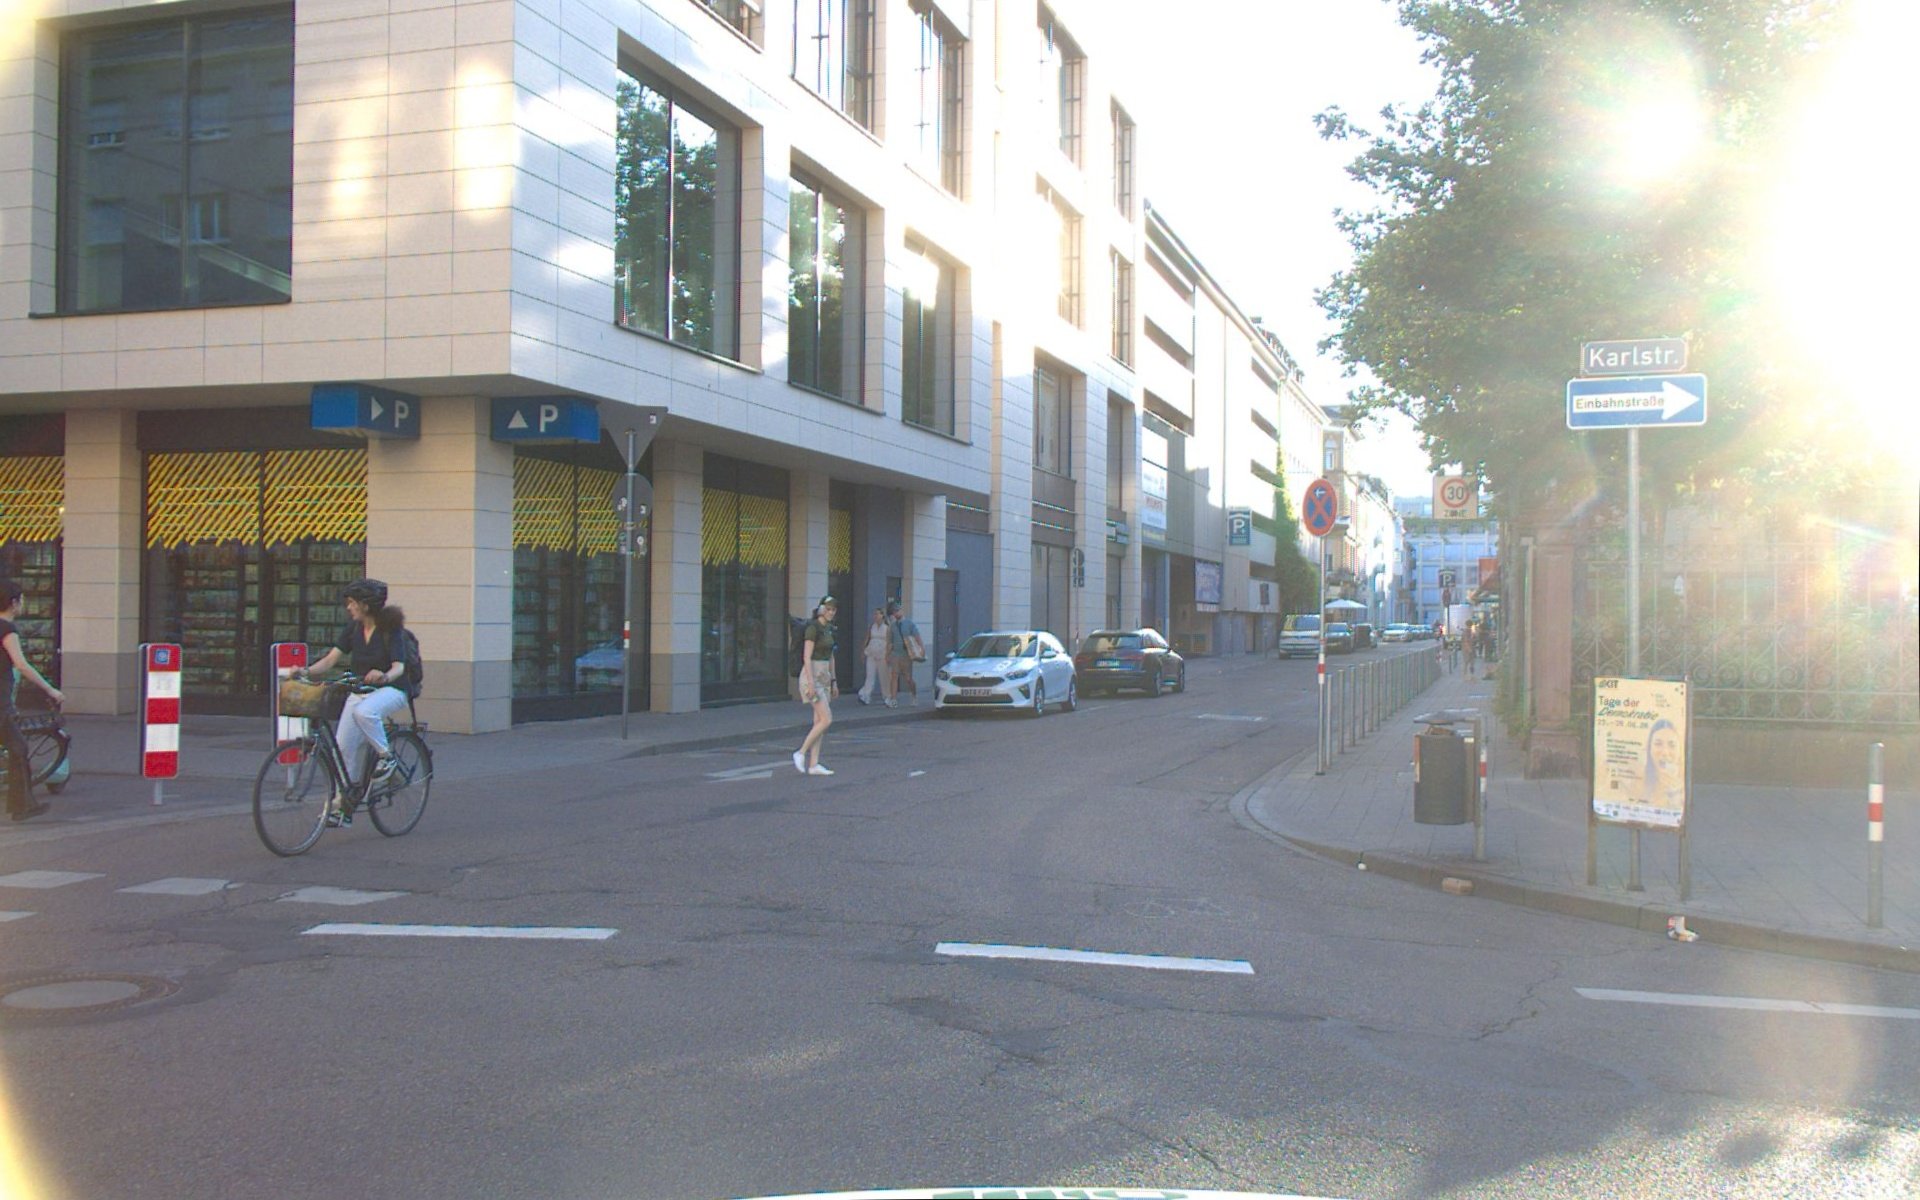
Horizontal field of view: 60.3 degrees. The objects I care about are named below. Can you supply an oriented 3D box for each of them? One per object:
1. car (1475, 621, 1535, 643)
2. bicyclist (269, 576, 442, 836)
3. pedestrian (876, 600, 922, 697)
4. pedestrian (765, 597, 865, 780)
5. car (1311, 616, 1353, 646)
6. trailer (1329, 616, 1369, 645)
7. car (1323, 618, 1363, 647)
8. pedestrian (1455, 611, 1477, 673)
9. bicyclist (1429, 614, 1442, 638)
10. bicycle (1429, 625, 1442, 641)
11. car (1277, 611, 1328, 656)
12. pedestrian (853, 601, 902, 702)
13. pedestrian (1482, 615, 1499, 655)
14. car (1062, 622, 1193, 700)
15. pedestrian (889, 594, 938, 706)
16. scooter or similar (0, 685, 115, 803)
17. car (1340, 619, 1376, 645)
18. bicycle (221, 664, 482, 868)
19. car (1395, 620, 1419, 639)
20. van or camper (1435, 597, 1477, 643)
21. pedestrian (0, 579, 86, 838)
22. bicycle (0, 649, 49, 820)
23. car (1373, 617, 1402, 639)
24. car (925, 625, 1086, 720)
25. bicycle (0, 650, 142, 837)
[{"bbox_3d":[37.281,2.181,113.194,3.903,1.445,1.657,1,-1,19],"label":"car"},{"bbox_3d":[-3.892,0.659,10.704,0.644,1.598,0.864,1,-1,14],"label":"bicyclist"},{"bbox_3d":[-1.122,0.885,30.615,0.658,1.775,0.647,0,-1,18],"label":"pedestrian"},{"bbox_3d":[-1.444,0.852,16.416,0.631,1.753,0.834,1,-1,-37],"label":"pedestrian"},{"bbox_3d":[19.049,1.550,84.547,1.843,1.478,4.002,0,-1,17],"label":"car"},{"bbox_3d":[21.927,1.714,93.180,1.951,1.584,4.002,1,-1,17],"label":"trailer"},{"bbox_3d":[20.686,1.741,89.203,1.843,1.478,4.002,0,-1,17],"label":"car"},{"bbox_3d":[13.977,1.158,45.715,0.474,1.687,0.619,-1,-1,11],"label":"pedestrian"},{"bbox_3d":[39.091,2.138,135.937,0.969,1.901,0.708,0,-1,19],"label":"bicyclist"},{"bbox_3d":[39.114,2.721,136.036,0.955,1.303,2.755,1,-1,18],"label":"bicycle"},{"bbox_3d":[15.299,1.474,73.696,1.843,1.945,4.751,0,-1,16],"label":"car"},{"bbox_3d":[-1.414,0.873,28.418,0.657,1.704,0.648,0,-1,16],"label":"pedestrian"},{"bbox_3d":[22.650,1.483,70.613,0.648,1.695,0.624,-2,-1,18],"label":"pedestrian"},{"bbox_3d":[3.847,1.310,37.205,1.844,1.626,4.690,0,-1,20],"label":"car"},{"bbox_3d":[-0.786,0.842,28.108,0.657,1.869,0.648,0,-1,16],"label":"pedestrian"},{"bbox_3d":[-7.300,1.150,13.385,0.378,0.899,0.770,1,-1,16],"label":"scooter or similar"},{"bbox_3d":[23.492,1.881,97.491,1.843,1.478,4.002,0,-1,17],"label":"car"},{"bbox_3d":[-3.884,1.017,10.737,0.650,1.158,1.823,1,-1,14],"label":"bicycle"},{"bbox_3d":[41.032,2.739,151.698,1.952,1.713,4.001,1,-1,18],"label":"car"},{"bbox_3d":[31.122,1.269,103.649,2.211,2.653,5.113,-4,-3,18],"label":"van or camper"},{"bbox_3d":[-6.362,0.707,11.058,0.859,1.687,0.613,1,-1,-27],"label":"pedestrian"},{"bbox_3d":[-7.653,1.002,11.987,0.568,1.277,2.045,1,-1,14],"label":"bicycle"},{"bbox_3d":[33.725,2.215,130.515,1.952,1.713,4.001,1,-1,18],"label":"car"},{"bbox_3d":[0.865,1.188,28.526,1.740,1.478,4.233,0,-1,17],"label":"car"},{"bbox_3d":[-6.917,1.011,11.831,0.650,1.277,2.142,1,-1,14],"label":"bicycle"}]
